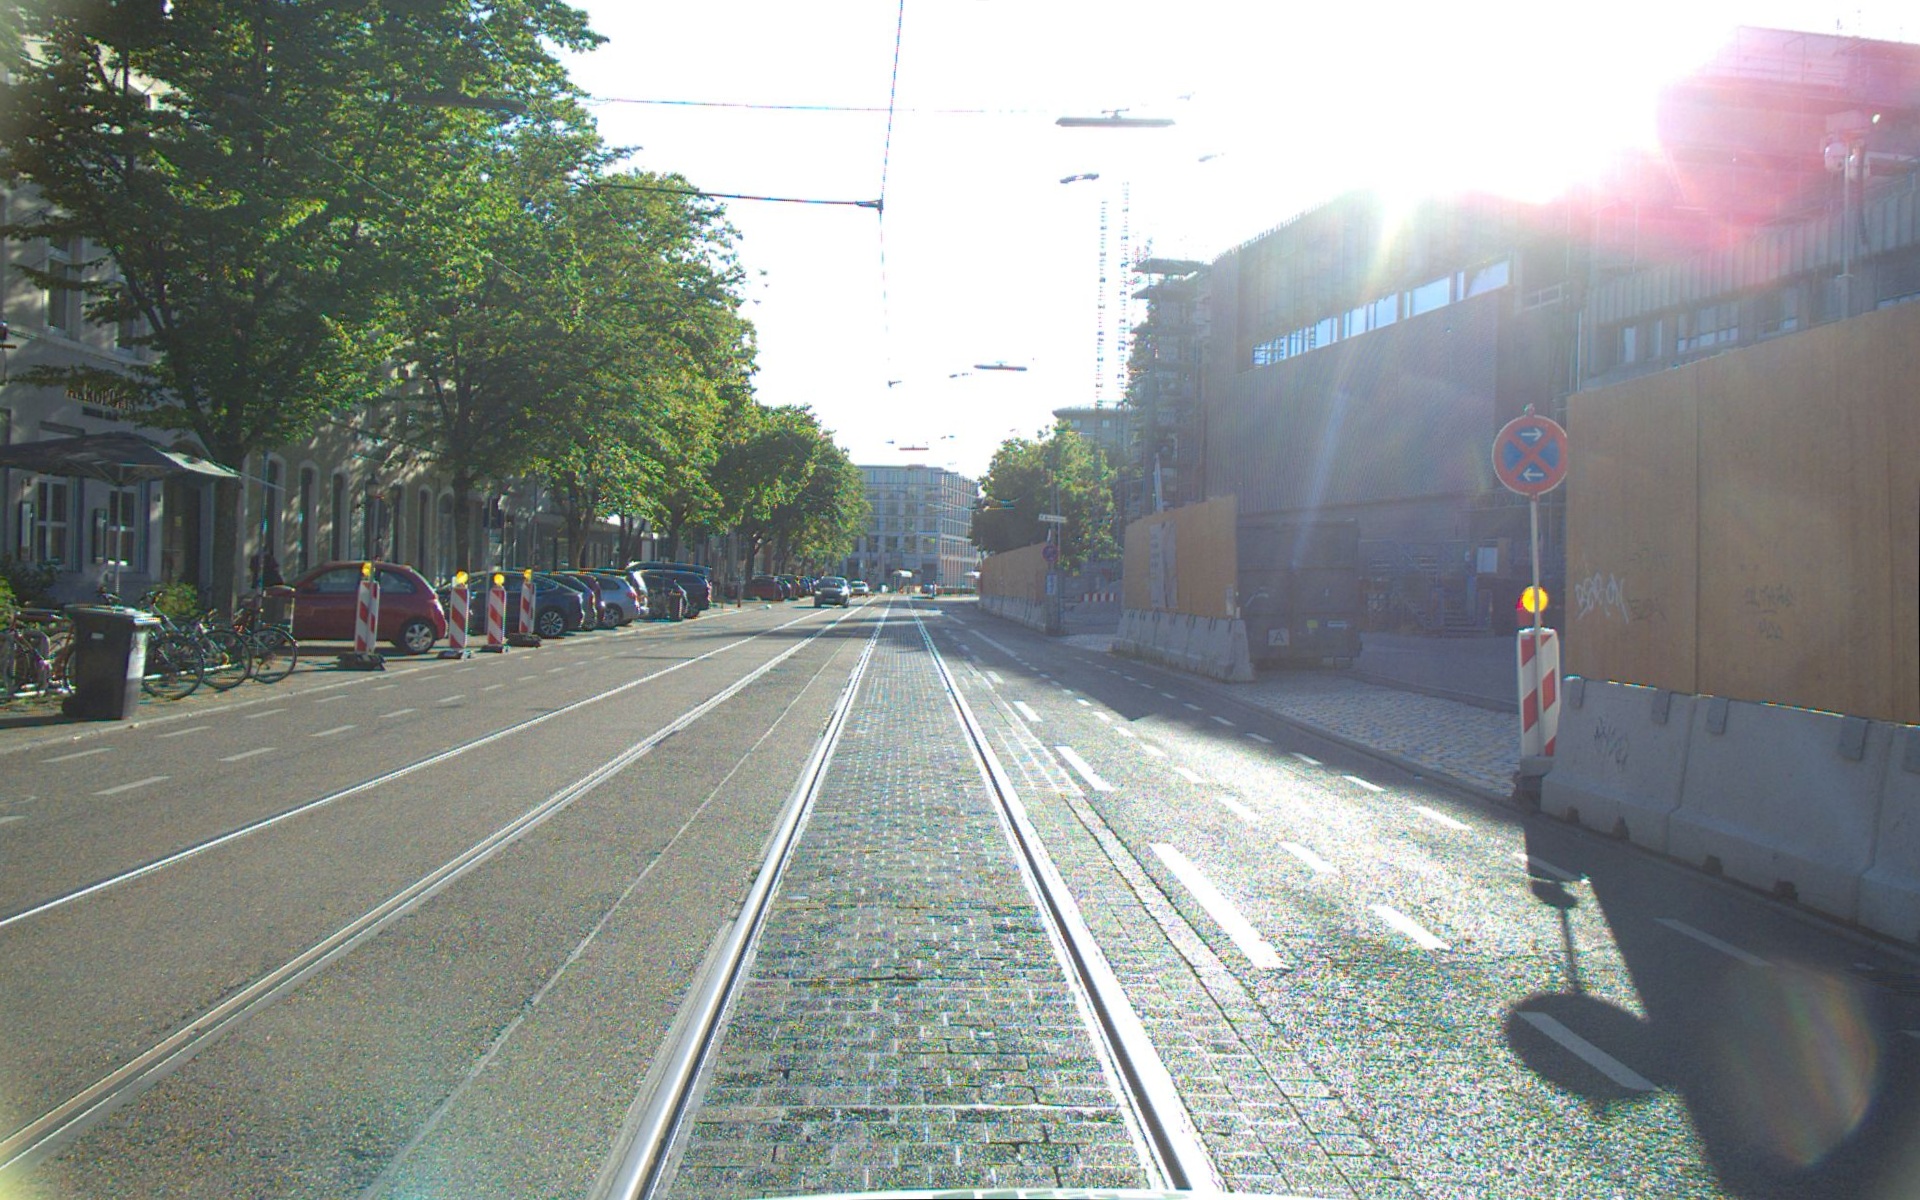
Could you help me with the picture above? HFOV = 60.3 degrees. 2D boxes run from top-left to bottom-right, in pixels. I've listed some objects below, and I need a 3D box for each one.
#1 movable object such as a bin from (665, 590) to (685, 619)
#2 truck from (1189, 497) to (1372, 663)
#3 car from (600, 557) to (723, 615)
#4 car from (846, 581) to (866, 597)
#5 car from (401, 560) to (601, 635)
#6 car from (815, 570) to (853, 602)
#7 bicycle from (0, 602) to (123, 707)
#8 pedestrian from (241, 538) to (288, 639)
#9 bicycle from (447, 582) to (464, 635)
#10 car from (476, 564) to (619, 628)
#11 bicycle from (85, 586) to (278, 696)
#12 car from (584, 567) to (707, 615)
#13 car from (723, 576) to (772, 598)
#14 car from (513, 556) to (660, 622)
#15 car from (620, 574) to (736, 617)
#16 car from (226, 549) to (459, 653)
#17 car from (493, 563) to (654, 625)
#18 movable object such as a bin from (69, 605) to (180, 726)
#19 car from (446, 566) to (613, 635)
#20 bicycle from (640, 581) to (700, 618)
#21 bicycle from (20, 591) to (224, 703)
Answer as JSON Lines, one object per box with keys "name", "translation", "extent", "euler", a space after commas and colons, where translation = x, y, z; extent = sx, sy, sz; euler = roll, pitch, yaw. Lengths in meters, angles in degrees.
{"name": "movable object such as a bin", "translation": [-9.719, 0.139, 56.370], "extent": [0.566, 0.929, 0.572], "euler": [3, 1, -18]}
{"name": "truck", "translation": [6.250, -0.398, 33.034], "extent": [2.468, 2.959, 5.506], "euler": [-2, 1, -1]}
{"name": "car", "translation": [-11.522, -0.543, 63.895], "extent": [4.297, 2.021, 1.935], "euler": [3, 0, -24]}
{"name": "car", "translation": [-9.718, -1.020, 154.233], "extent": [1.674, 1.461, 4.170], "euler": [1, 1, -1]}
{"name": "car", "translation": [-10.673, -0.045, 38.495], "extent": [4.143, 1.517, 1.925], "euler": [3, 1, -29]}
{"name": "car", "translation": [-6.921, -0.784, 91.046], "extent": [1.889, 1.657, 4.248], "euler": [0, 2, -2]}
{"name": "bicycle", "translation": [-9.439, 0.546, 16.811], "extent": [1.572, 1.005, 0.388], "euler": [3, 1, -13]}
{"name": "pedestrian", "translation": [-14.207, -0.238, 33.794], "extent": [0.716, 2.049, 0.556], "euler": [1, 0, -1]}
{"name": "bicycle", "translation": [-10.917, 0.175, 35.778], "extent": [0.327, 1.114, 1.586], "euler": [0, 1, -17]}
{"name": "car", "translation": [-10.952, -0.103, 43.935], "extent": [3.327, 1.519, 1.597], "euler": [3, 1, -31]}
{"name": "bicycle", "translation": [-9.317, 0.479, 19.825], "extent": [1.962, 1.106, 0.567], "euler": [5, 0, 0]}
{"name": "car", "translation": [-11.618, -0.324, 61.118], "extent": [4.178, 1.714, 1.798], "euler": [0, 1, -23]}
{"name": "car", "translation": [-13.643, -0.824, 106.214], "extent": [2.902, 1.355, 1.203], "euler": [0, 1, -30]}
{"name": "car", "translation": [-11.301, -0.345, 50.285], "extent": [4.024, 1.707, 1.839], "euler": [4, 0, -5]}
{"name": "car", "translation": [-10.051, -0.159, 58.935], "extent": [3.799, 1.502, 1.833], "euler": [0, 1, -20]}
{"name": "car", "translation": [-10.715, 0.018, 28.722], "extent": [3.572, 1.580, 1.654], "euler": [3, 2, -29]}
{"name": "car", "translation": [-10.939, -0.164, 46.837], "extent": [4.058, 1.538, 1.824], "euler": [3, 1, -29]}
{"name": "movable object such as a bin", "translation": [-8.175, 0.629, 16.207], "extent": [0.670, 1.096, 0.710], "euler": [4, 1, -1]}
{"name": "car", "translation": [-10.683, 0.014, 41.087], "extent": [3.635, 1.496, 1.735], "euler": [3, 0, -31]}
{"name": "bicycle", "translation": [-10.008, -0.015, 57.070], "extent": [1.937, 1.164, 0.490], "euler": [3, 0, -21]}
{"name": "bicycle", "translation": [-9.352, 0.513, 18.496], "extent": [1.928, 1.098, 0.568], "euler": [4, 0, 0]}
